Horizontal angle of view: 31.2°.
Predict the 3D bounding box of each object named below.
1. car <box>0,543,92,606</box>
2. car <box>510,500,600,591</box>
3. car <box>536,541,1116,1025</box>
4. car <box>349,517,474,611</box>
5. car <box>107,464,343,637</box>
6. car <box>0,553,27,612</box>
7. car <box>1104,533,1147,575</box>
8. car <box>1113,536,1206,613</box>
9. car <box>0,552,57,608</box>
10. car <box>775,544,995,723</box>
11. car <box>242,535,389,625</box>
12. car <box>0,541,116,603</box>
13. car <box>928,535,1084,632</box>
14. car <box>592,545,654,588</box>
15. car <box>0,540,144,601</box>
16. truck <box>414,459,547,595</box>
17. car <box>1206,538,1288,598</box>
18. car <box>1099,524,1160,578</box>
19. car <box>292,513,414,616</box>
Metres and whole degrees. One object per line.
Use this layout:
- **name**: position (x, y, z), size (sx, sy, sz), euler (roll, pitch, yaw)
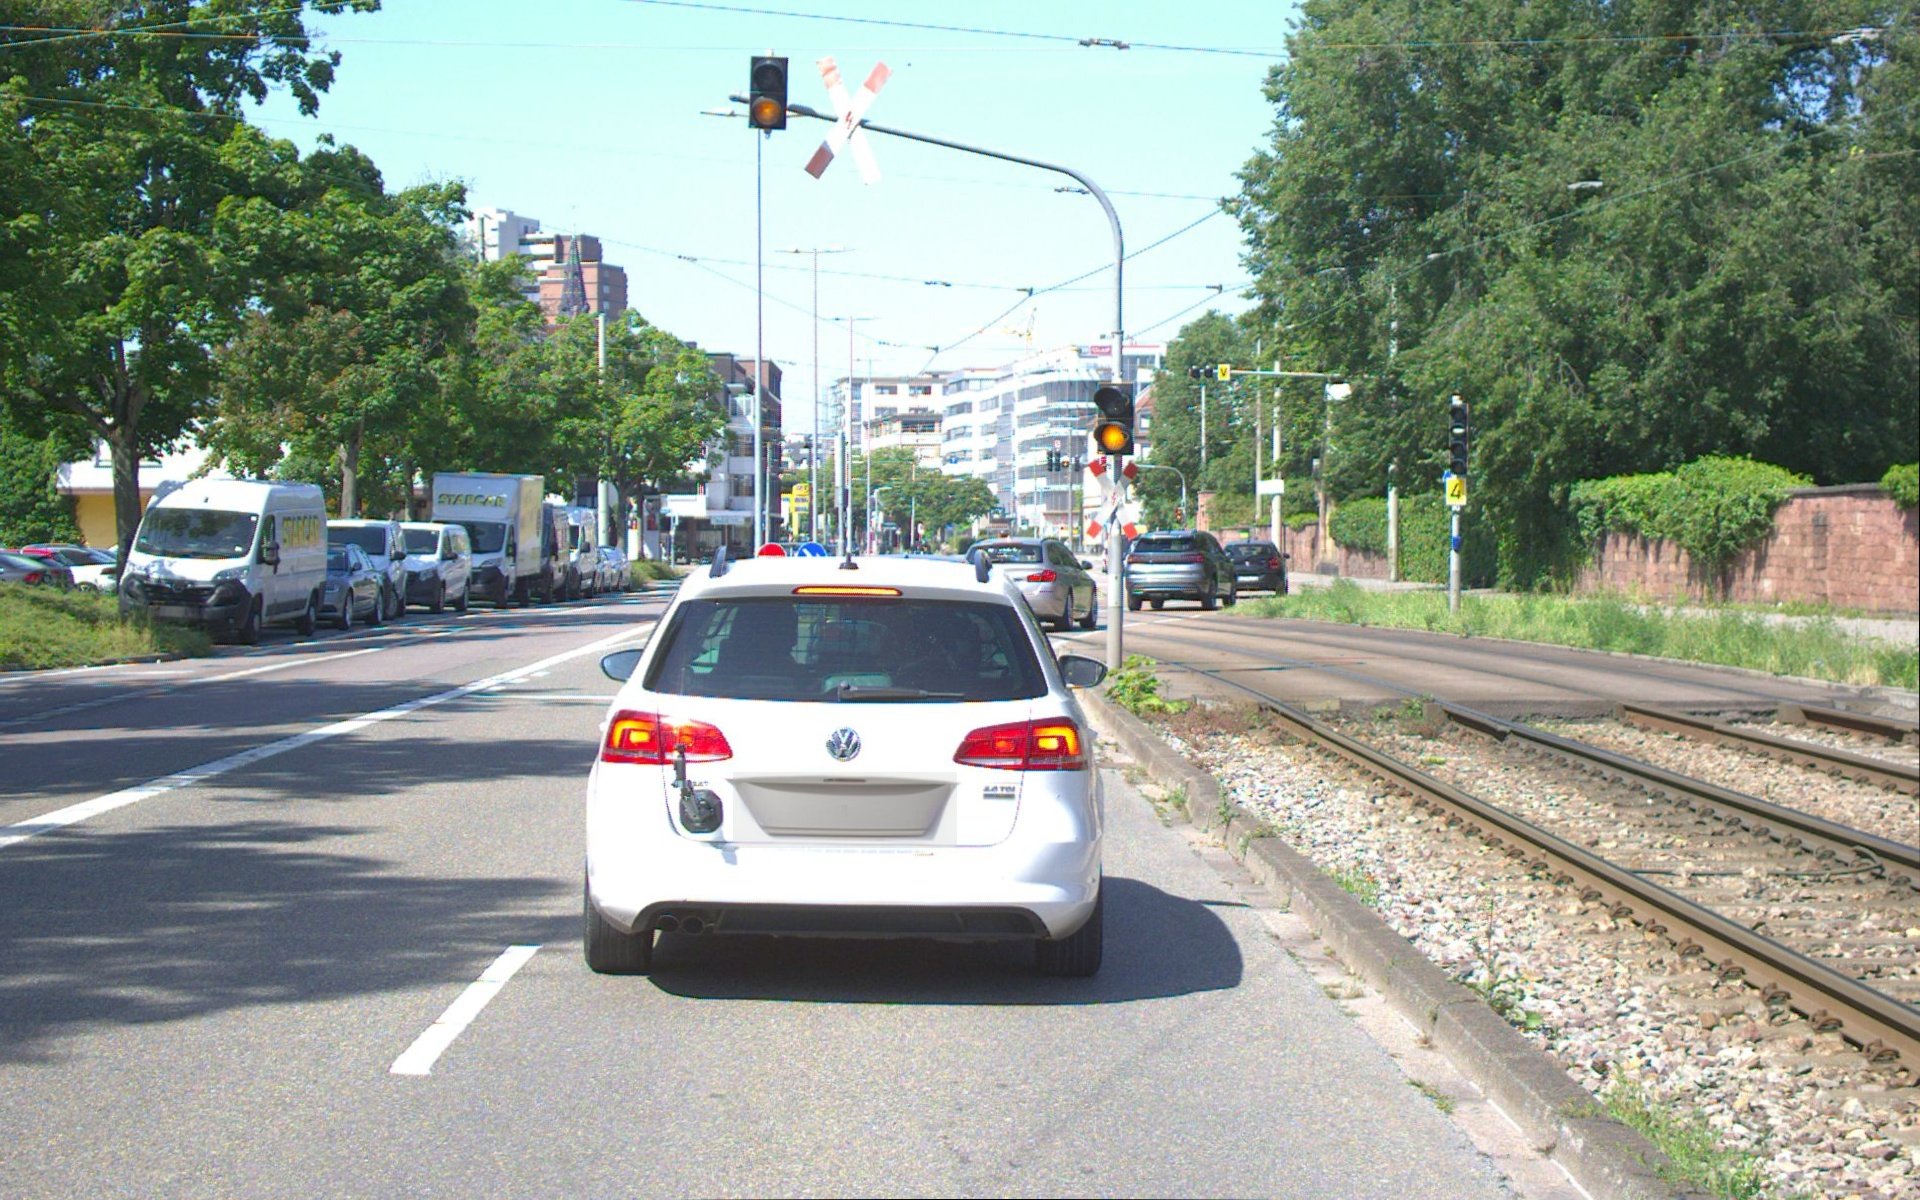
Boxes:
- **car**: position (-22.058, -0.590, 78.478), size (3.987, 1.397, 1.771), euler (0, 1, 3)
- **car**: position (-11.508, -1.566, 97.962), size (1.843, 2.486, 5.857), euler (0, 1, 0)
- **car**: position (-0.462, 0.541, 12.709), size (1.768, 1.441, 3.913), euler (2, 1, -1)
- **car**: position (-11.718, -0.798, 73.779), size (1.843, 1.954, 5.134), euler (0, 1, 0)
- **car**: position (-11.509, -0.802, 54.315), size (2.059, 2.492, 6.307), euler (3, 1, 2)
- **car**: position (-22.262, -0.371, 73.725), size (3.987, 1.221, 1.771), euler (0, 1, 3)
- **car**: position (7.536, -2.084, 156.711), size (1.691, 1.806, 3.454), euler (2, 0, -1)
- **car**: position (4.197, -0.564, 72.201), size (1.861, 1.508, 3.913), euler (2, 1, 4)
- **car**: position (-22.159, -0.440, 75.844), size (3.987, 1.221, 1.771), euler (0, 1, 3)
- **car**: position (-0.624, 0.239, 29.857), size (1.746, 1.383, 3.913), euler (2, 1, -1)
- **car**: position (-11.349, -0.381, 60.791), size (1.843, 1.511, 4.197), euler (0, 1, 0)
- **car**: position (-22.119, -0.658, 80.980), size (3.987, 1.439, 1.771), euler (0, 1, 3)
- **car**: position (0.776, -0.283, 54.517), size (1.862, 1.412, 4.323), euler (2, 1, 9)
- **car**: position (-11.594, -1.157, 118.473), size (1.780, 1.428, 4.038), euler (0, 1, 0)
- **car**: position (-22.058, -0.713, 83.525), size (3.987, 1.439, 1.771), euler (0, 1, 3)
- **truck**: position (-11.442, -1.741, 82.522), size (2.356, 3.112, 6.892), euler (0, 1, -1)
- **car**: position (7.211, -0.818, 86.190), size (1.746, 1.403, 3.912), euler (2, 1, 9)
- **car**: position (8.127, -2.333, 165.366), size (2.463, 2.490, 5.910), euler (2, 0, -1)
- **car**: position (-11.891, -0.729, 67.640), size (1.843, 1.930, 5.195), euler (0, 1, -4)
